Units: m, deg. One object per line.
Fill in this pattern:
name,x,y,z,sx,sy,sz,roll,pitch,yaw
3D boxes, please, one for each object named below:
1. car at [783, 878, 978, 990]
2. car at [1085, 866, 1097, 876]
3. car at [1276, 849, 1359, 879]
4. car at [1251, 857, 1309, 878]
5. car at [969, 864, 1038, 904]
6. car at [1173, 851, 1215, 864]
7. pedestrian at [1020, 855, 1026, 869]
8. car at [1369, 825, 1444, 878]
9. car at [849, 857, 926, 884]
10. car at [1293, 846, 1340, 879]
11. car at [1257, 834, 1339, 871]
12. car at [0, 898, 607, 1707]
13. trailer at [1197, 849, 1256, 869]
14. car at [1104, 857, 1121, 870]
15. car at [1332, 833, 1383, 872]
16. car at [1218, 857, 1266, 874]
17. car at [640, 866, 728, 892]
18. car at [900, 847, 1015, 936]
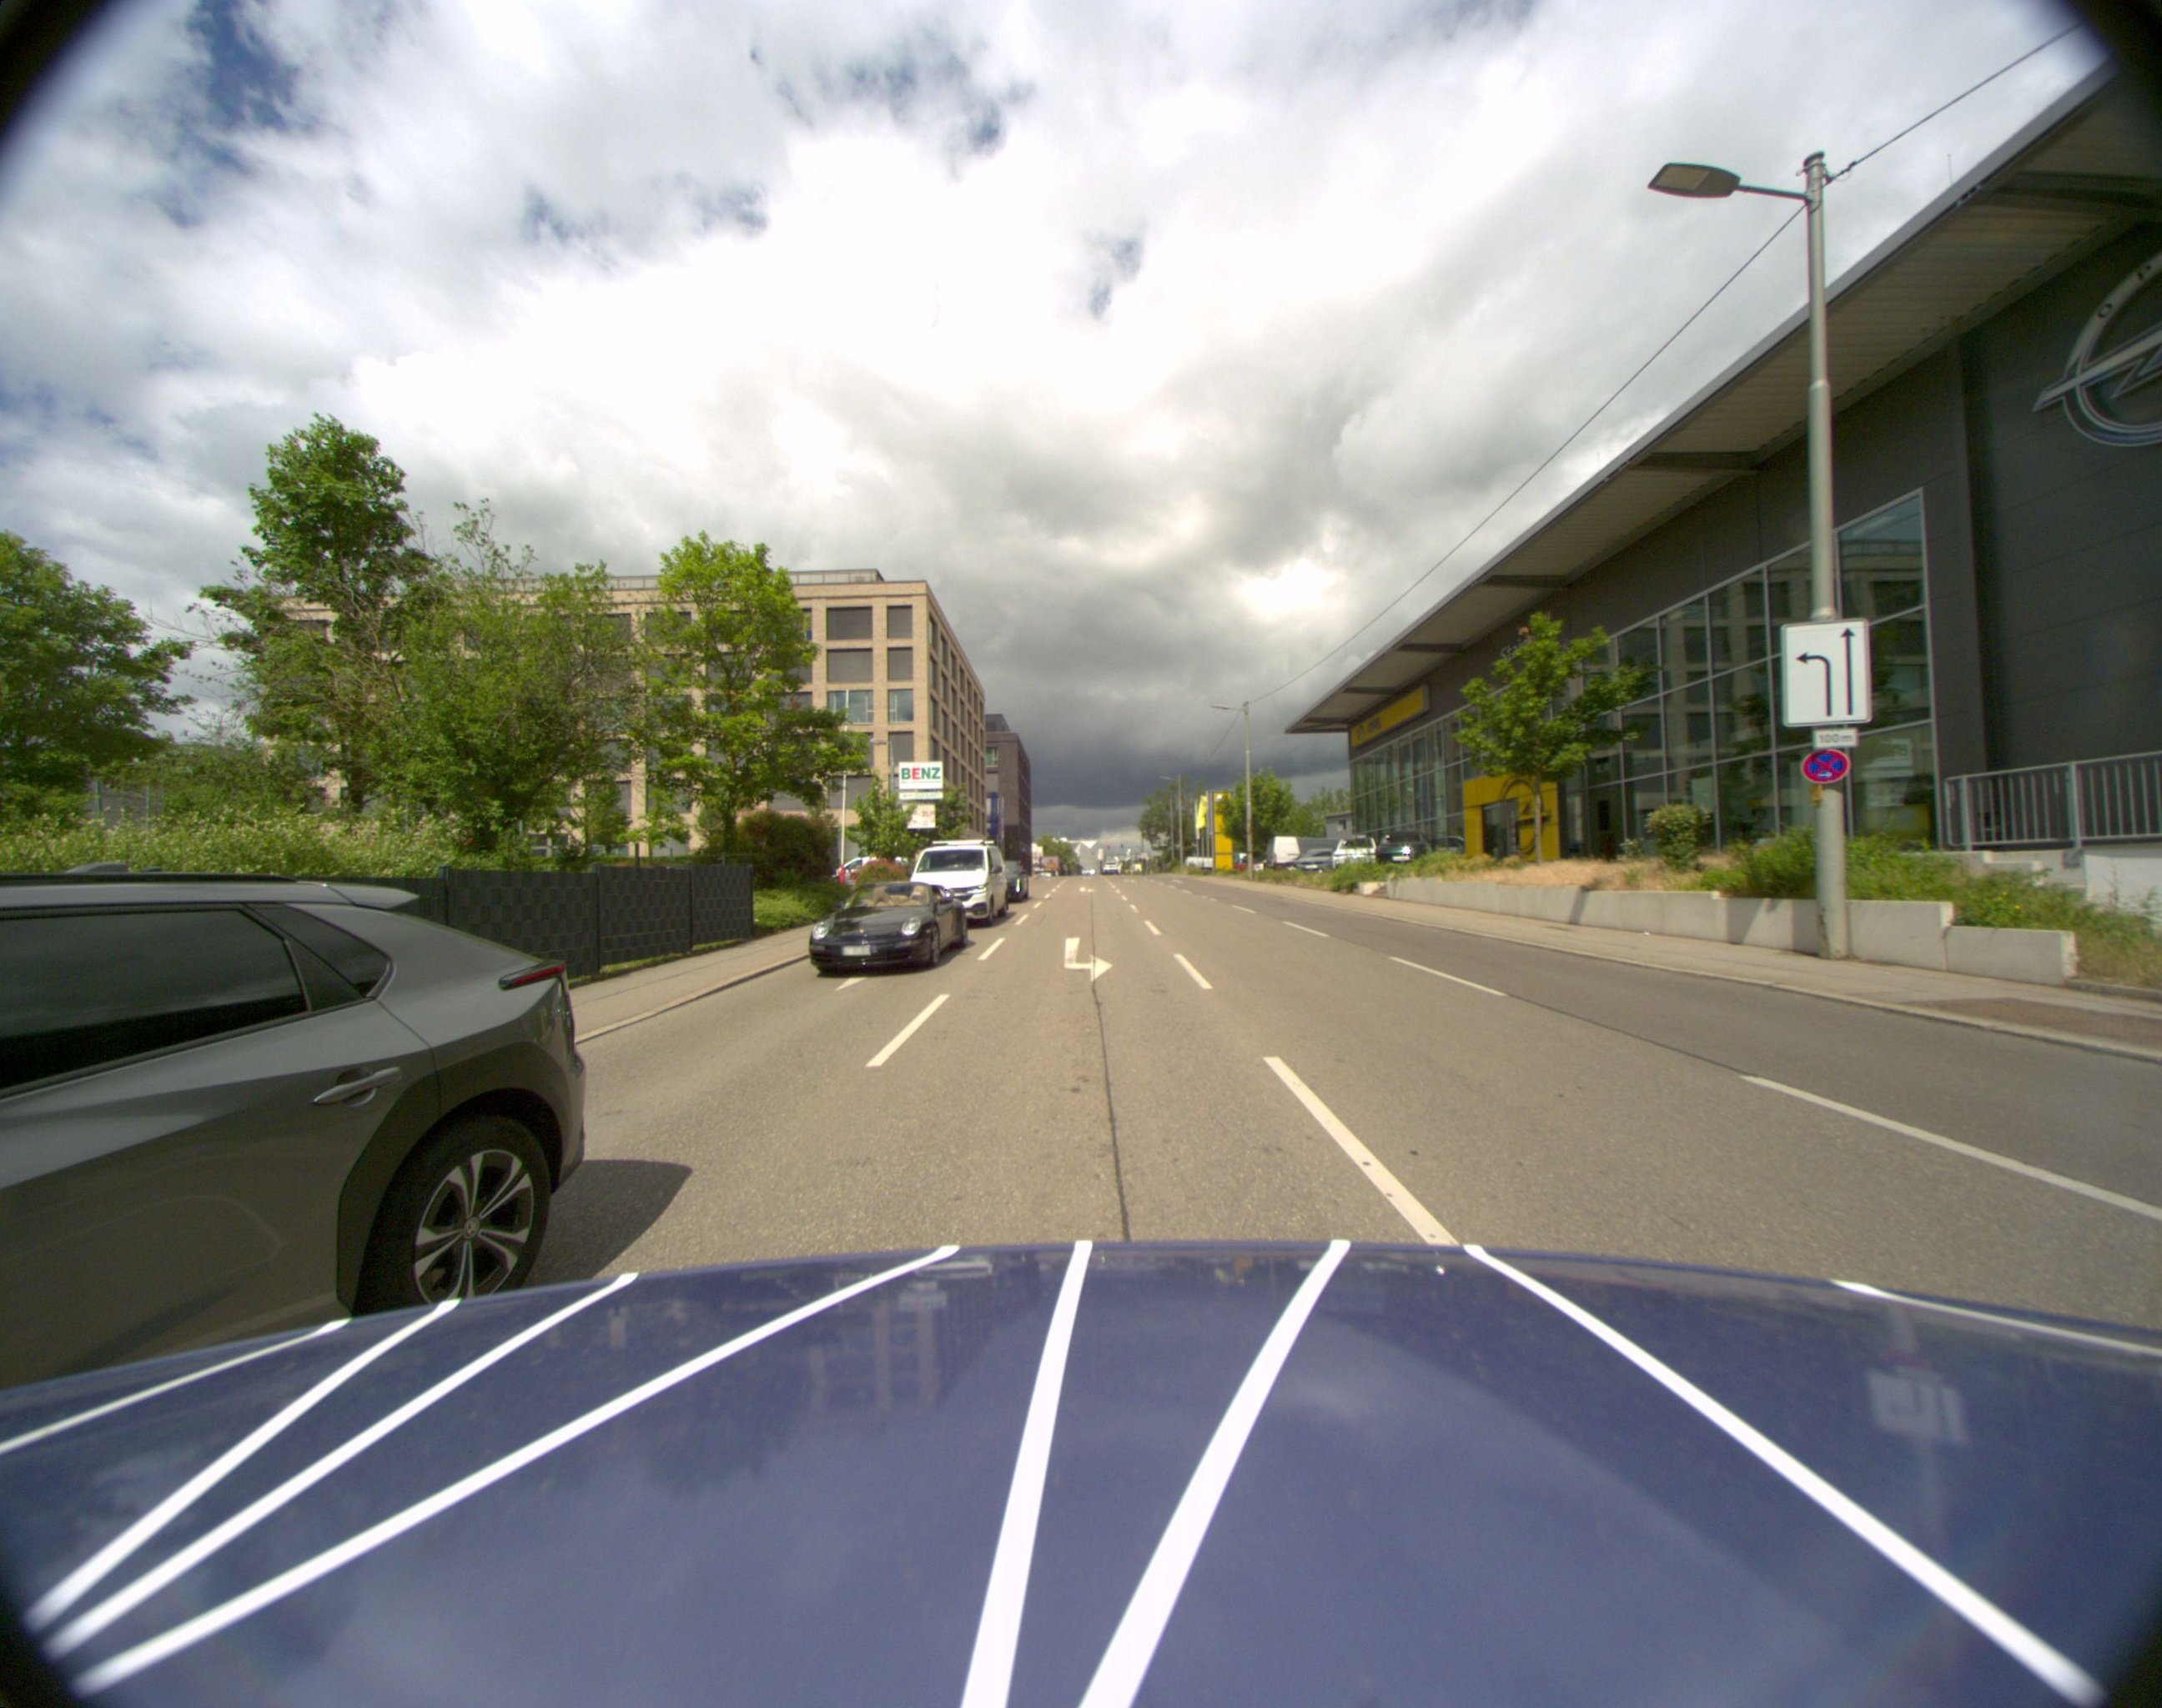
car,-2.959,1.130,12.333,1.777,1.267,4.569,-3,0,2
car,1.649,2.725,122.090,1.866,1.398,4.000,-1,0,1
car,13.332,0.575,43.015,4.108,1.604,1.797,-1,0,-8
car,14.958,1.024,57.288,3.946,1.518,1.561,-1,0,-2
car,-2.780,1.048,28.200,1.777,1.267,4.569,-1,0,4
car,12.540,0.389,84.387,4.252,1.473,2.095,-1,0,-2
pedestrian,-6.242,0.913,82.425,0.578,1.497,0.542,-1,1,1
car,12.353,-0.074,28.702,1.818,1.602,4.117,-10,-5,31
car,-11.540,0.970,45.516,4.220,1.567,1.735,-1,0,-4
car,12.161,0.421,39.069,1.794,1.604,4.116,-1,0,24
car,13.600,-0.106,47.850,4.531,2.182,2.179,-1,1,0
car,-3.001,1.021,0.824,1.924,1.604,4.683,-3,0,1
trailer,13.140,0.449,68.756,4.835,1.742,2.095,-1,0,-3
car,3.867,1.143,93.354,1.924,1.604,4.416,0,0,1
car,12.295,-0.084,33.630,1.793,1.604,4.115,-1,1,25
car,13.703,0.983,64.798,3.669,1.401,1.815,-1,0,2
car,-23.381,1.461,44.863,4.219,1.410,1.735,-1,0,-1
car,-2.872,0.829,18.767,1.964,1.840,4.645,-3,0,1
